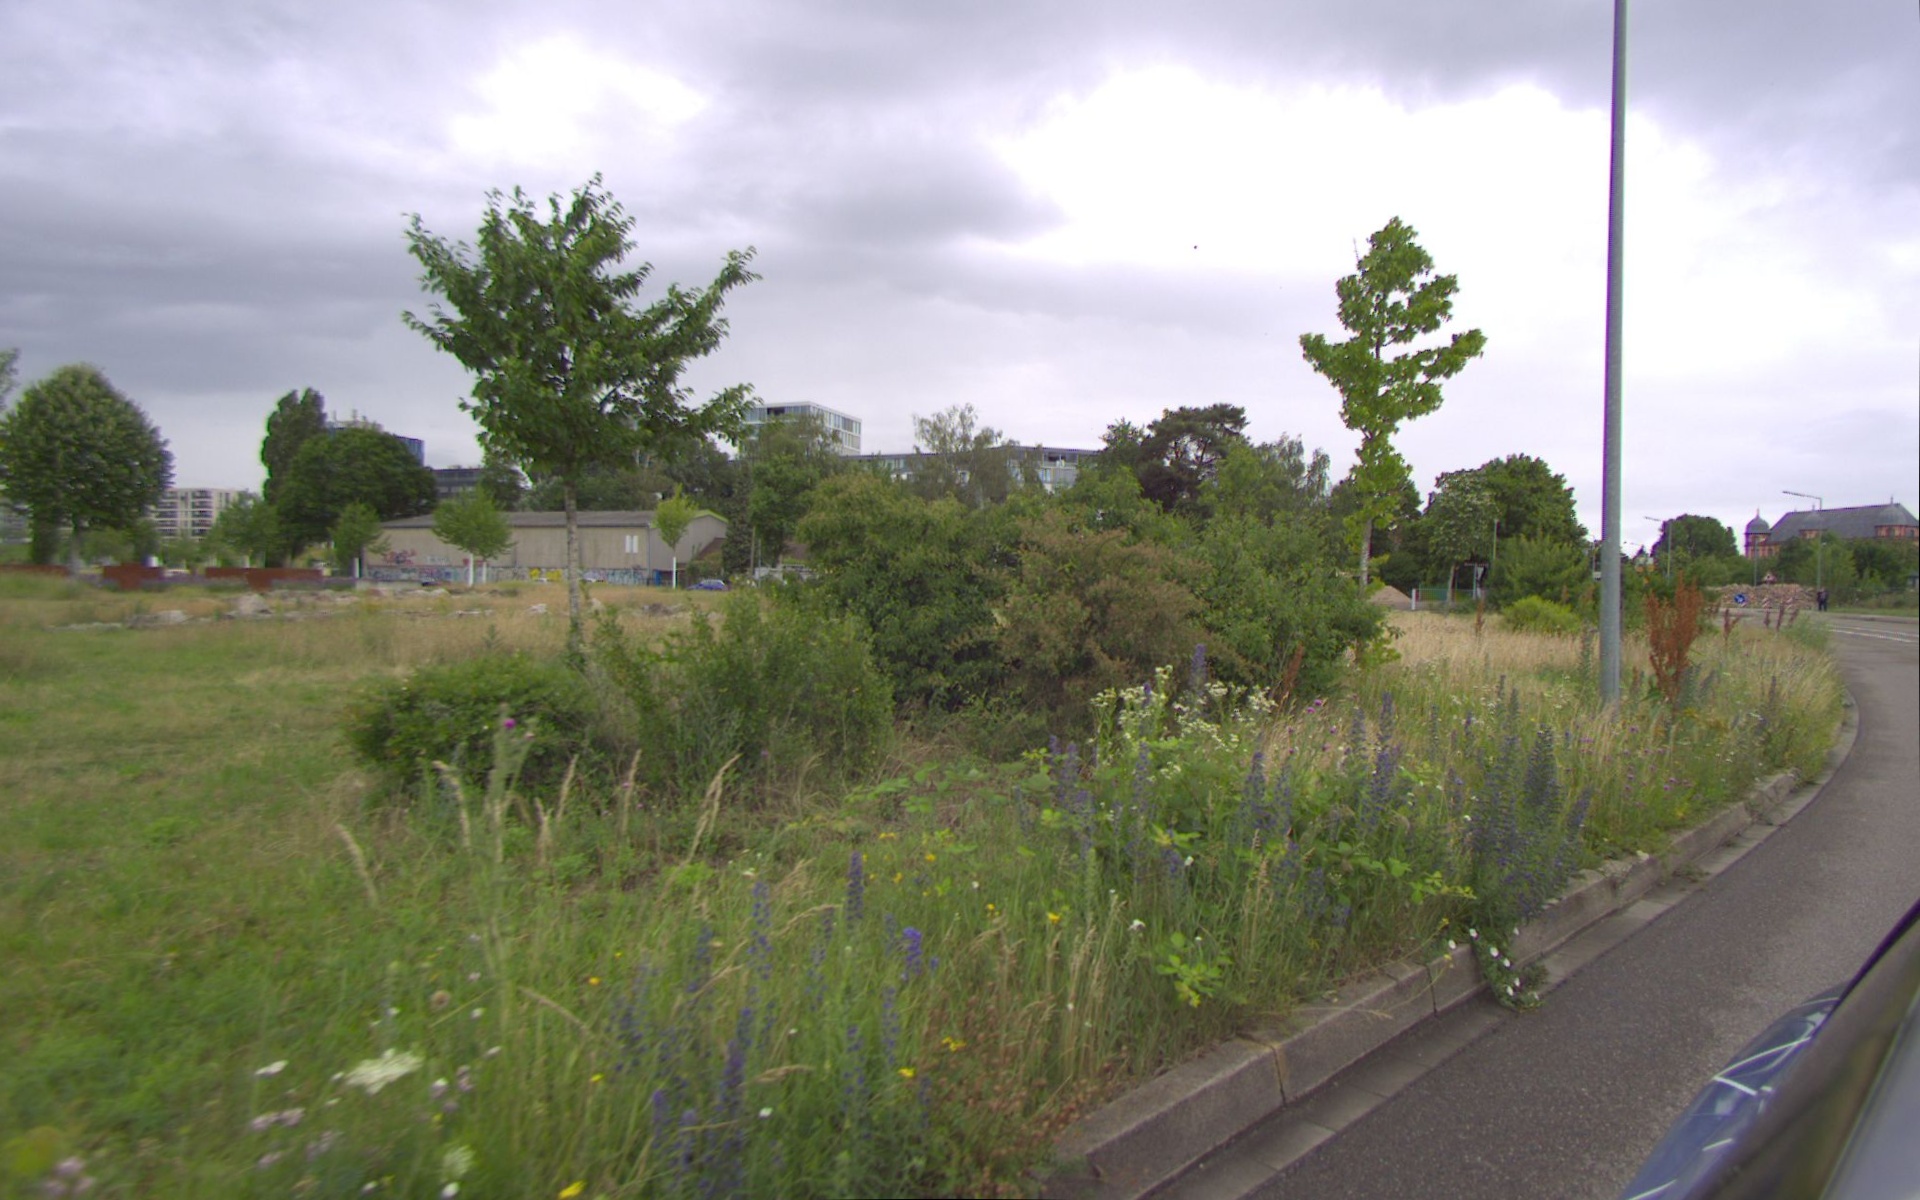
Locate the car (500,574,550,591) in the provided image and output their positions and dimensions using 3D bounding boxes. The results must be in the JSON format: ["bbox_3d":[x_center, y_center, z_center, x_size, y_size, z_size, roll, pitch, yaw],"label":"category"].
[{"bbox_3d":[-38.436,-1.563,89.418,3.951,1.438,1.836,1,1,21],"label":"car"}]

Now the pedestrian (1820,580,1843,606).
[{"bbox_3d":[61.564,-0.487,71.507,0.835,1.805,1.070,1,0,19],"label":"pedestrian"}]

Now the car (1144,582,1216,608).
[{"bbox_3d":[14.996,-0.342,68.967,4.537,1.660,1.987,1,0,20],"label":"car"}]

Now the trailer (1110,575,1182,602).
[{"bbox_3d":[11.277,-0.707,61.341,4.066,1.552,1.748,1,0,19],"label":"trailer"}]

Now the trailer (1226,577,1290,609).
[{"bbox_3d":[19.901,-0.447,67.588,3.950,2.039,1.632,1,0,21],"label":"trailer"}]
